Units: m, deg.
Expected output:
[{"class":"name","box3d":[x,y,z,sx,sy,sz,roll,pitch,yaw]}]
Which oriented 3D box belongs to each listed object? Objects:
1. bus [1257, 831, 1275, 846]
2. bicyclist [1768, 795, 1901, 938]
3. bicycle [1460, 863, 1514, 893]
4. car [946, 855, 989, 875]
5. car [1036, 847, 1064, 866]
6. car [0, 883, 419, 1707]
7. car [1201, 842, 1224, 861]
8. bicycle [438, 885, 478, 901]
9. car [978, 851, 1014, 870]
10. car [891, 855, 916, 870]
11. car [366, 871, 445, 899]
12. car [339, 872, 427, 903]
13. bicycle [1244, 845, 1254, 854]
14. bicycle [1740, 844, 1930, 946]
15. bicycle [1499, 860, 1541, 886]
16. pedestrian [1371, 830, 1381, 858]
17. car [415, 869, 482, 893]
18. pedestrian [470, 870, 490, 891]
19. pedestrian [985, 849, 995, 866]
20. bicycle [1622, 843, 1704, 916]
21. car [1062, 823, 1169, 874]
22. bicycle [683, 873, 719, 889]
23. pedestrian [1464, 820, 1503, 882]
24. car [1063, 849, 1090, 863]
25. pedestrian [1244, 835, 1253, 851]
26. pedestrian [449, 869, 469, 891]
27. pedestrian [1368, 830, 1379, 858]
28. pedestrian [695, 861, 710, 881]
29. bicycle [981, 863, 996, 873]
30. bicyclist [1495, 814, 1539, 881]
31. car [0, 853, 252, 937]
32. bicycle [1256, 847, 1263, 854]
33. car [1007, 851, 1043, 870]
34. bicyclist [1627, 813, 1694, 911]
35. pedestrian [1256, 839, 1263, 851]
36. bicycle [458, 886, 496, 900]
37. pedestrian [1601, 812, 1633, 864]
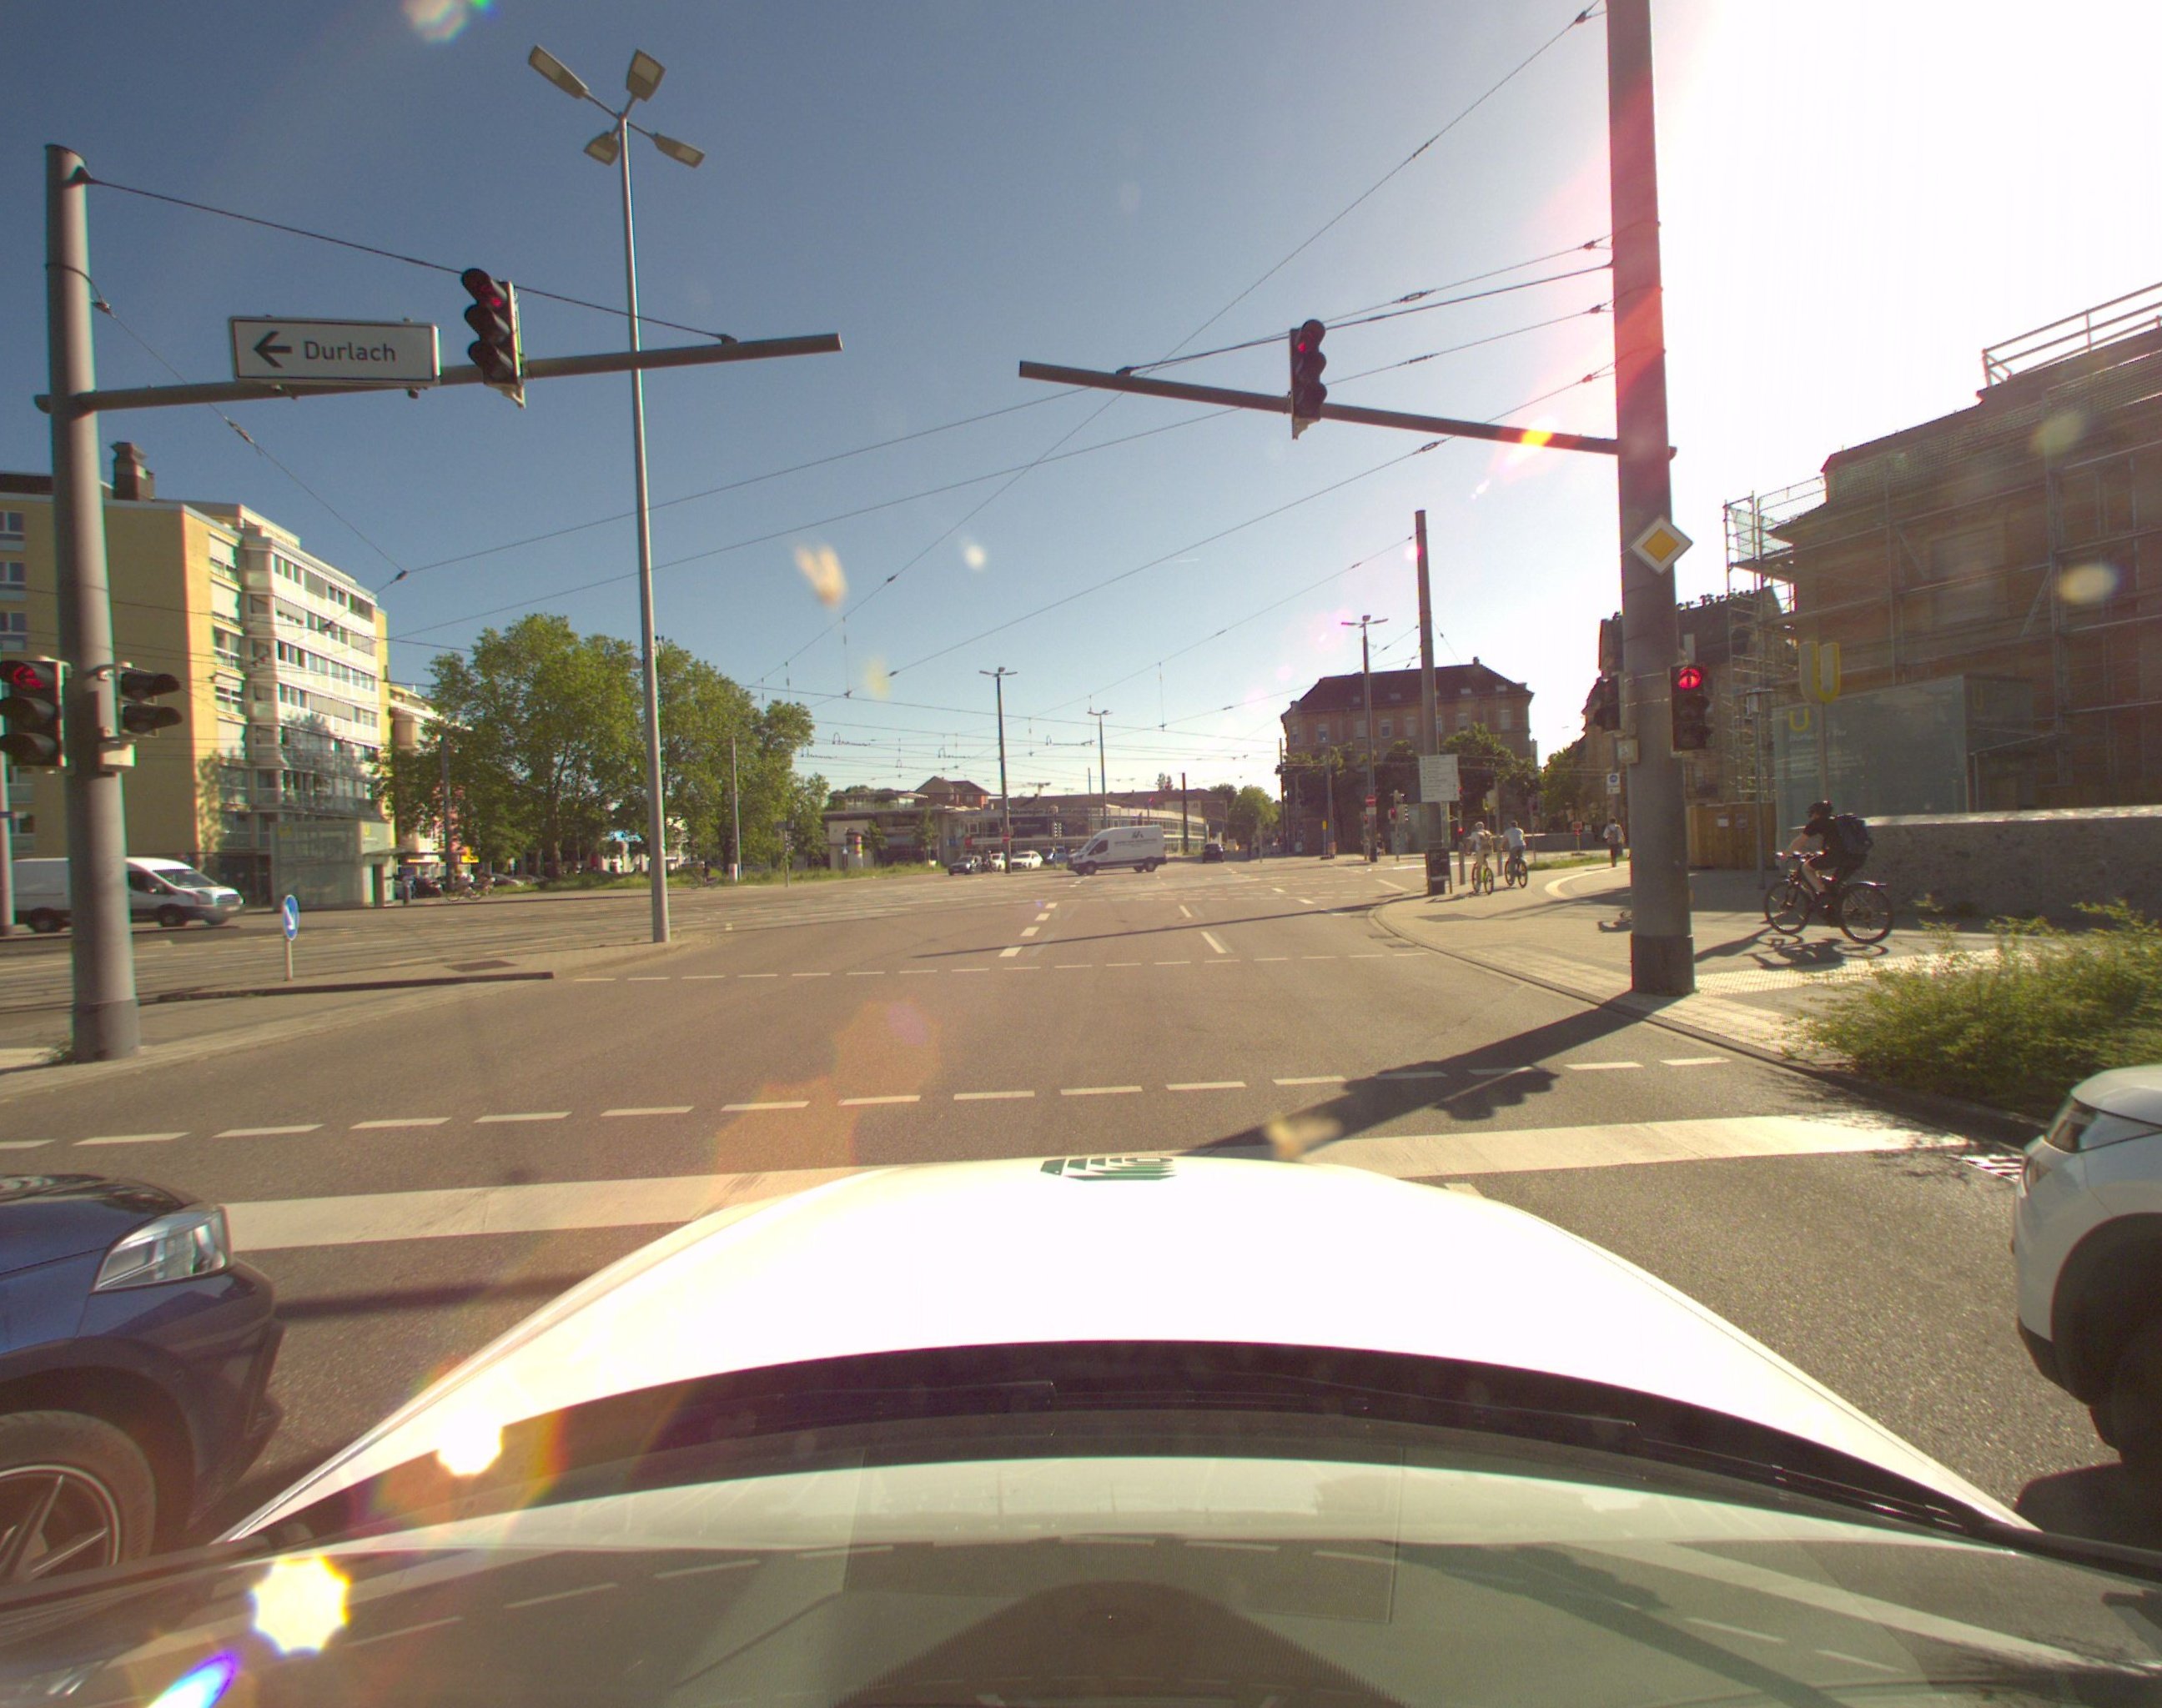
[{"class":"bus","box3d":[49.851,-3.947,219.212,3.808,3.607,24.965,-1,0,15]},{"class":"bicyclist","box3d":[9.314,0.145,10.115,0.623,1.637,0.995,-5,0,1]},{"class":"bicycle","box3d":[10.540,0.605,21.208,0.535,0.655,1.726,-5,0,2]},{"class":"car","box3d":[-8.500,0.788,61.244,1.689,1.354,3.719,-2,0,19]},{"class":"car","box3d":[-2.994,0.234,79.217,1.613,1.692,3.702,-2,0,17]},{"class":"car","box3d":[-2.671,0.809,0.134,1.704,1.445,4.034,-1,0,2]},{"class":"car","box3d":[11.021,-0.225,68.442,1.690,1.503,4.273,-2,0,7]},{"class":"bicycle","box3d":[-34.181,2.119,44.700,1.635,0.758,0.421,-2,0,-21]},{"class":"car","box3d":[-6.980,0.549,67.168,1.613,1.424,3.702,-2,0,17]},{"class":"car","box3d":[-21.872,1.069,100.595,1.958,1.706,4.085,-2,0,2]},{"class":"car","box3d":[-45.773,2.058,55.263,3.742,1.662,1.585,-2,0,-18]},{"class":"car","box3d":[-42.899,2.020,50.151,3.742,1.662,1.585,-2,0,-18]},{"class":"bicycle","box3d":[17.579,-0.487,85.239,0.737,0.870,1.941,-2,0,19]},{"class":"bicycle","box3d":[9.342,0.462,10.207,0.623,1.114,1.851,-5,0,1]},{"class":"bicycle","box3d":[12.201,0.515,22.677,0.534,0.655,1.471,-3,0,9]},{"class":"pedestrian","box3d":[21.852,-0.750,60.320,0.461,2.013,0.449,-3,0,-16]},{"class":"car","box3d":[-49.861,2.114,64.280,3.742,1.662,1.585,-2,0,-18]},{"class":"pedestrian","box3d":[-34.169,1.497,46.293,0.749,1.127,0.421,-2,0,-18]},{"class":"pedestrian","box3d":[-6.827,0.274,60.880,0.419,1.204,0.753,-2,0,19]},{"class":"bicycle","box3d":[9.955,0.411,13.996,0.567,1.125,1.749,-5,0,18]},{"class":"car","box3d":[2.071,-0.328,48.486,5.920,2.744,2.131,-2,0,-18]},{"class":"bicycle","box3d":[-23.934,1.704,51.340,2.015,0.913,0.558,-2,0,-26]},{"class":"pedestrian","box3d":[10.437,-0.076,21.134,0.546,1.562,0.858,-2,0,1]},{"class":"car","box3d":[-0.442,0.241,86.288,1.613,1.364,3.703,-2,0,18]},{"class":"pedestrian","box3d":[17.646,-1.152,85.651,0.796,1.632,0.722,-2,0,20]},{"class":"pedestrian","box3d":[-34.138,1.421,44.729,0.750,1.204,0.421,-2,0,-21]},{"class":"pedestrian","box3d":[21.432,-0.719,59.659,0.574,2.013,0.449,-3,0,-16]},{"class":"pedestrian","box3d":[-23.888,1.077,51.375,0.798,1.204,0.556,-2,0,-25]},{"class":"bicycle","box3d":[-6.862,1.027,60.683,0.419,0.718,1.642,-2,0,19]},{"class":"bicyclist","box3d":[12.163,-0.176,22.726,0.742,1.778,0.926,-3,0,9]},{"class":"car","box3d":[-32.471,1.327,27.875,5.408,2.508,1.991,-2,0,-14]},{"class":"bicycle","box3d":[21.945,-0.404,100.160,0.737,0.870,1.940,-2,0,17]},{"class":"car","box3d":[-4.474,0.511,65.225,1.613,1.382,3.754,-2,0,17]},{"class":"bicyclist","box3d":[9.903,0.127,13.936,0.567,1.568,0.951,-5,0,18]},{"class":"pedestrian","box3d":[21.885,-1.125,100.057,0.740,1.523,0.721,-2,0,17]},{"class":"bicycle","box3d":[-34.275,2.203,46.247,1.634,0.718,0.421,-2,0,-18]},{"class":"pedestrian","box3d":[19.833,-0.573,30.111,0.887,1.859,0.933,-2,0,36]}]
